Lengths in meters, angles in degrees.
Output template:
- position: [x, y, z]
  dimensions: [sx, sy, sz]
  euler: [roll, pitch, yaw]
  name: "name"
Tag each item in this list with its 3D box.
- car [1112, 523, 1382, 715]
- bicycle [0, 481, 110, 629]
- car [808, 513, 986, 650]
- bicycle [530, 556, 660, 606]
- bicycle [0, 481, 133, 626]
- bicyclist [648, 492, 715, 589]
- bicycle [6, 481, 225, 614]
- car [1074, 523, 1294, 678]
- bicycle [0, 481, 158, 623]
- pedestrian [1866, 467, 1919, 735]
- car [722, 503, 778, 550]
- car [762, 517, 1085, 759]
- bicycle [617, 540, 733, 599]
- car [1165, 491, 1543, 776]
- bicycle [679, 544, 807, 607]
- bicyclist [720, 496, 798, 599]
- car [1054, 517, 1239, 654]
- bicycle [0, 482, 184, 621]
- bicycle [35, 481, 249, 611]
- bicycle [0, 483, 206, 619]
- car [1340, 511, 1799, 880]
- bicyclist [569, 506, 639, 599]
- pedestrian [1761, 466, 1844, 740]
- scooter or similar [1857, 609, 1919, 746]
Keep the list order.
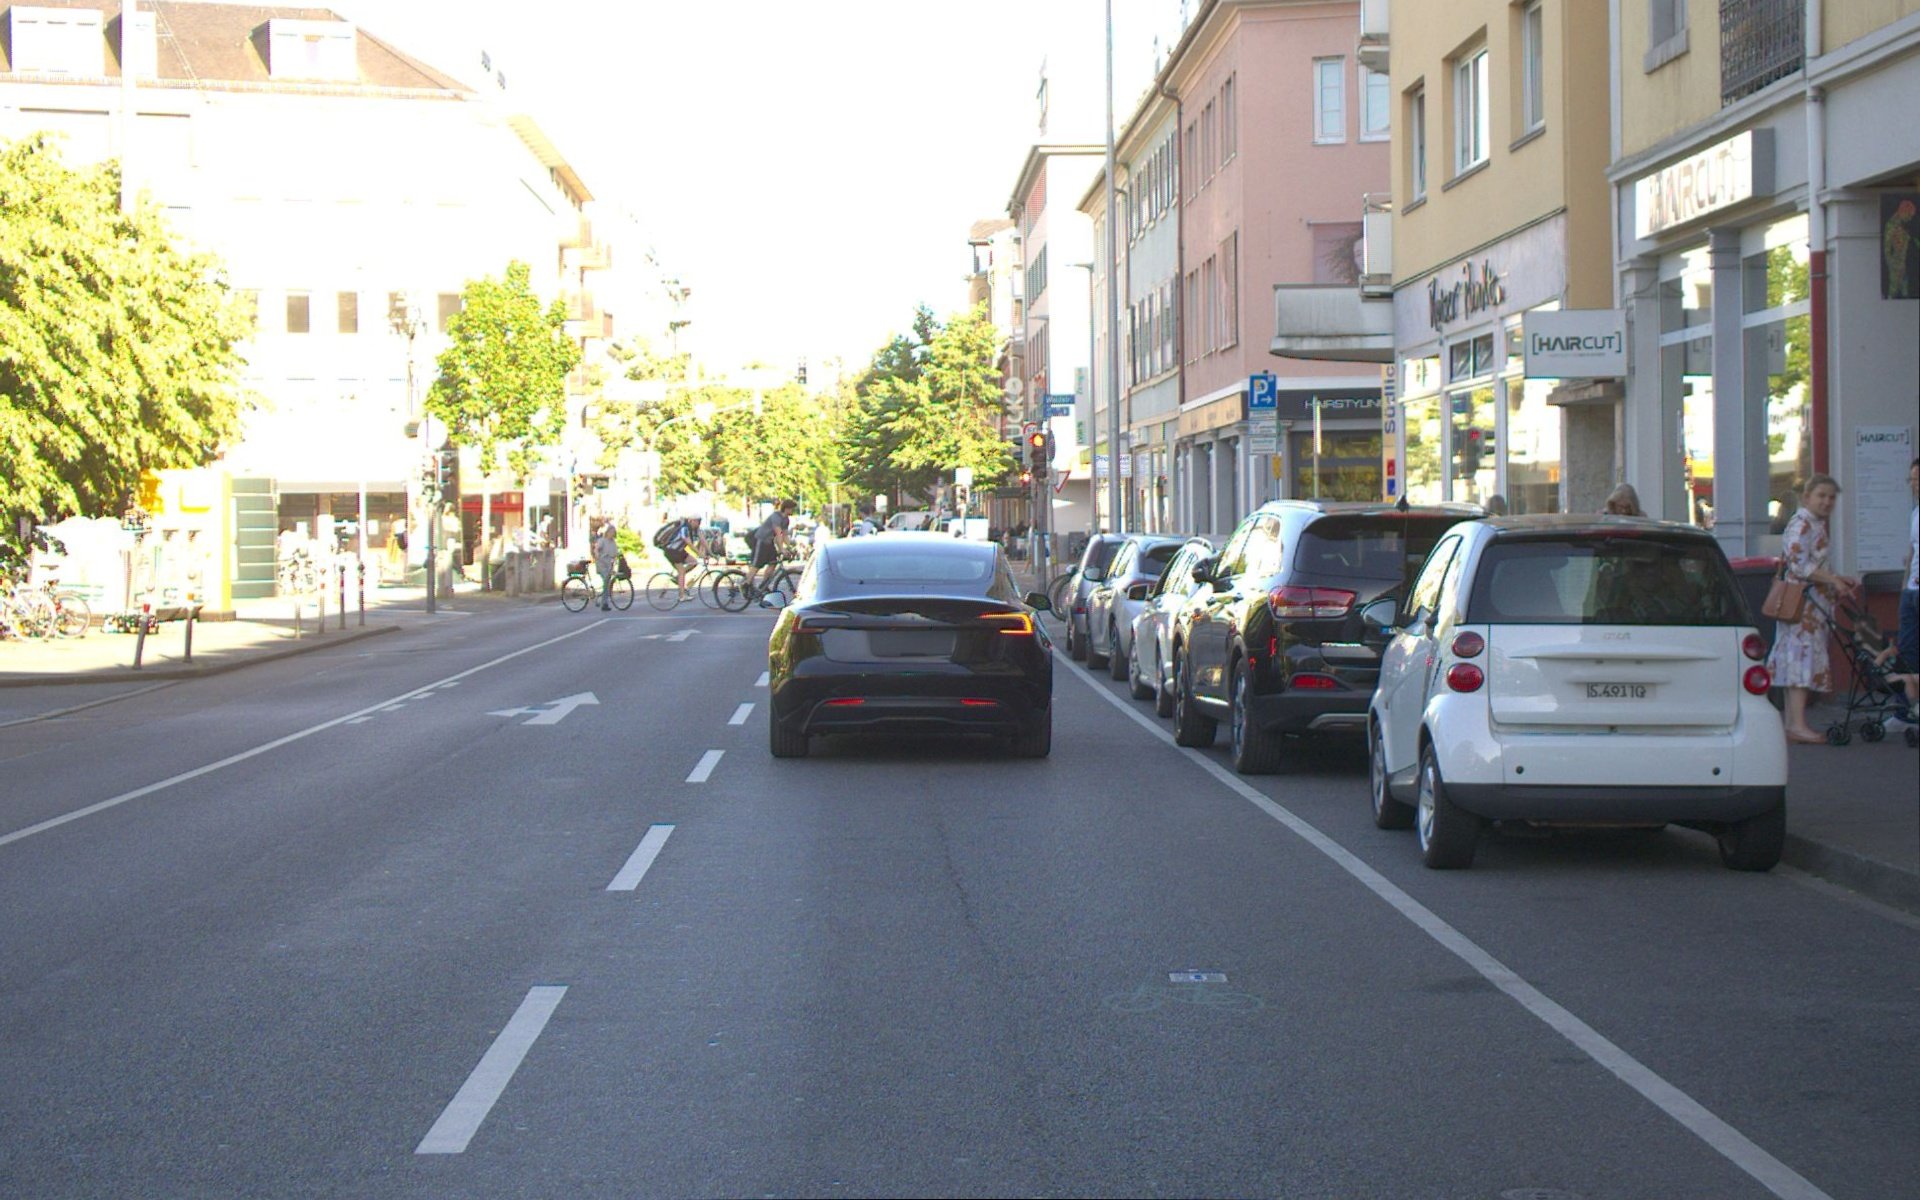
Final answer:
- position: [2.300, 0.128, 28.530]
  dimensions: [1.792, 1.455, 4.084]
  euler: [1, 0, -1]
  name: "car"
- position: [-13.391, -0.626, 47.384]
  dimensions: [3.122, 2.007, 0.908]
  euler: [0, 1, 8]
  name: "bicycle"
- position: [-0.669, -0.253, 39.349]
  dimensions: [1.935, 1.482, 4.271]
  euler: [0, 2, 0]
  name: "car"
- position: [-6.631, -0.346, 62.548]
  dimensions: [2.244, 0.880, 0.923]
  euler: [0, 1, 3]
  name: "bicycle"
- position: [-13.298, -0.661, 48.341]
  dimensions: [3.122, 2.007, 0.908]
  euler: [0, 1, 8]
  name: "bicycle"
- position: [-4.845, -1.041, 59.885]
  dimensions: [1.146, 1.680, 0.819]
  euler: [0, 1, -5]
  name: "bicyclist"
- position: [-12.892, -0.805, 52.508]
  dimensions: [3.122, 2.007, 0.908]
  euler: [0, 1, 8]
  name: "bicycle"
- position: [2.205, -0.013, 34.770]
  dimensions: [1.792, 1.455, 3.868]
  euler: [1, 0, -2]
  name: "car"
- position: [-13.180, -0.697, 49.334]
  dimensions: [3.122, 2.007, 0.908]
  euler: [0, 1, 8]
  name: "bicycle"
- position: [5.869, 0.000, 21.157]
  dimensions: [0.470, 1.630, 0.513]
  euler: [0, 1, 4]
  name: "pedestrian"
- position: [-8.339, -2.938, 136.947]
  dimensions: [1.993, 1.765, 4.001]
  euler: [1, 2, 0]
  name: "car"
- position: [-0.320, 0.220, 23.660]
  dimensions: [1.995, 1.475, 4.495]
  euler: [1, 0, -2]
  name: "car"
- position: [-4.961, -0.535, 59.892]
  dimensions: [2.011, 1.018, 0.762]
  euler: [0, 1, -4]
  name: "bicycle"
- position: [2.410, 0.180, 21.984]
  dimensions: [1.716, 1.630, 4.085]
  euler: [1, 0, -3]
  name: "car"
- position: [-3.585, -0.408, 56.915]
  dimensions: [2.012, 1.018, 0.888]
  euler: [0, 1, 5]
  name: "bicycle"
- position: [-3.323, -0.869, 56.881]
  dimensions: [1.146, 1.680, 0.919]
  euler: [0, 1, 6]
  name: "bicyclist"
- position: [2.069, -0.172, 39.150]
  dimensions: [1.792, 1.455, 3.868]
  euler: [1, 0, -1]
  name: "car"
- position: [-13.035, -0.723, 50.382]
  dimensions: [3.122, 2.007, 0.908]
  euler: [0, 1, 8]
  name: "bicycle"
- position: [-12.735, -0.845, 53.549]
  dimensions: [3.122, 2.007, 0.908]
  euler: [0, 1, 8]
  name: "bicycle"
- position: [-12.959, -0.739, 51.466]
  dimensions: [3.122, 2.007, 0.908]
  euler: [0, 1, 8]
  name: "bicycle"
- position: [2.768, 0.375, 16.164]
  dimensions: [1.613, 1.541, 2.855]
  euler: [1, 2, 0]
  name: "car"
- position: [-6.475, -0.868, 62.529]
  dimensions: [1.146, 1.680, 0.915]
  euler: [0, 1, 2]
  name: "bicyclist"
- position: [5.088, 0.013, 20.752]
  dimensions: [0.471, 1.630, 0.513]
  euler: [0, 1, 15]
  name: "pedestrian"
- position: [5.617, 0.451, 20.321]
  dimensions: [0.579, 0.777, 0.466]
  euler: [-2, 1, 15]
  name: "scooter or similar"
